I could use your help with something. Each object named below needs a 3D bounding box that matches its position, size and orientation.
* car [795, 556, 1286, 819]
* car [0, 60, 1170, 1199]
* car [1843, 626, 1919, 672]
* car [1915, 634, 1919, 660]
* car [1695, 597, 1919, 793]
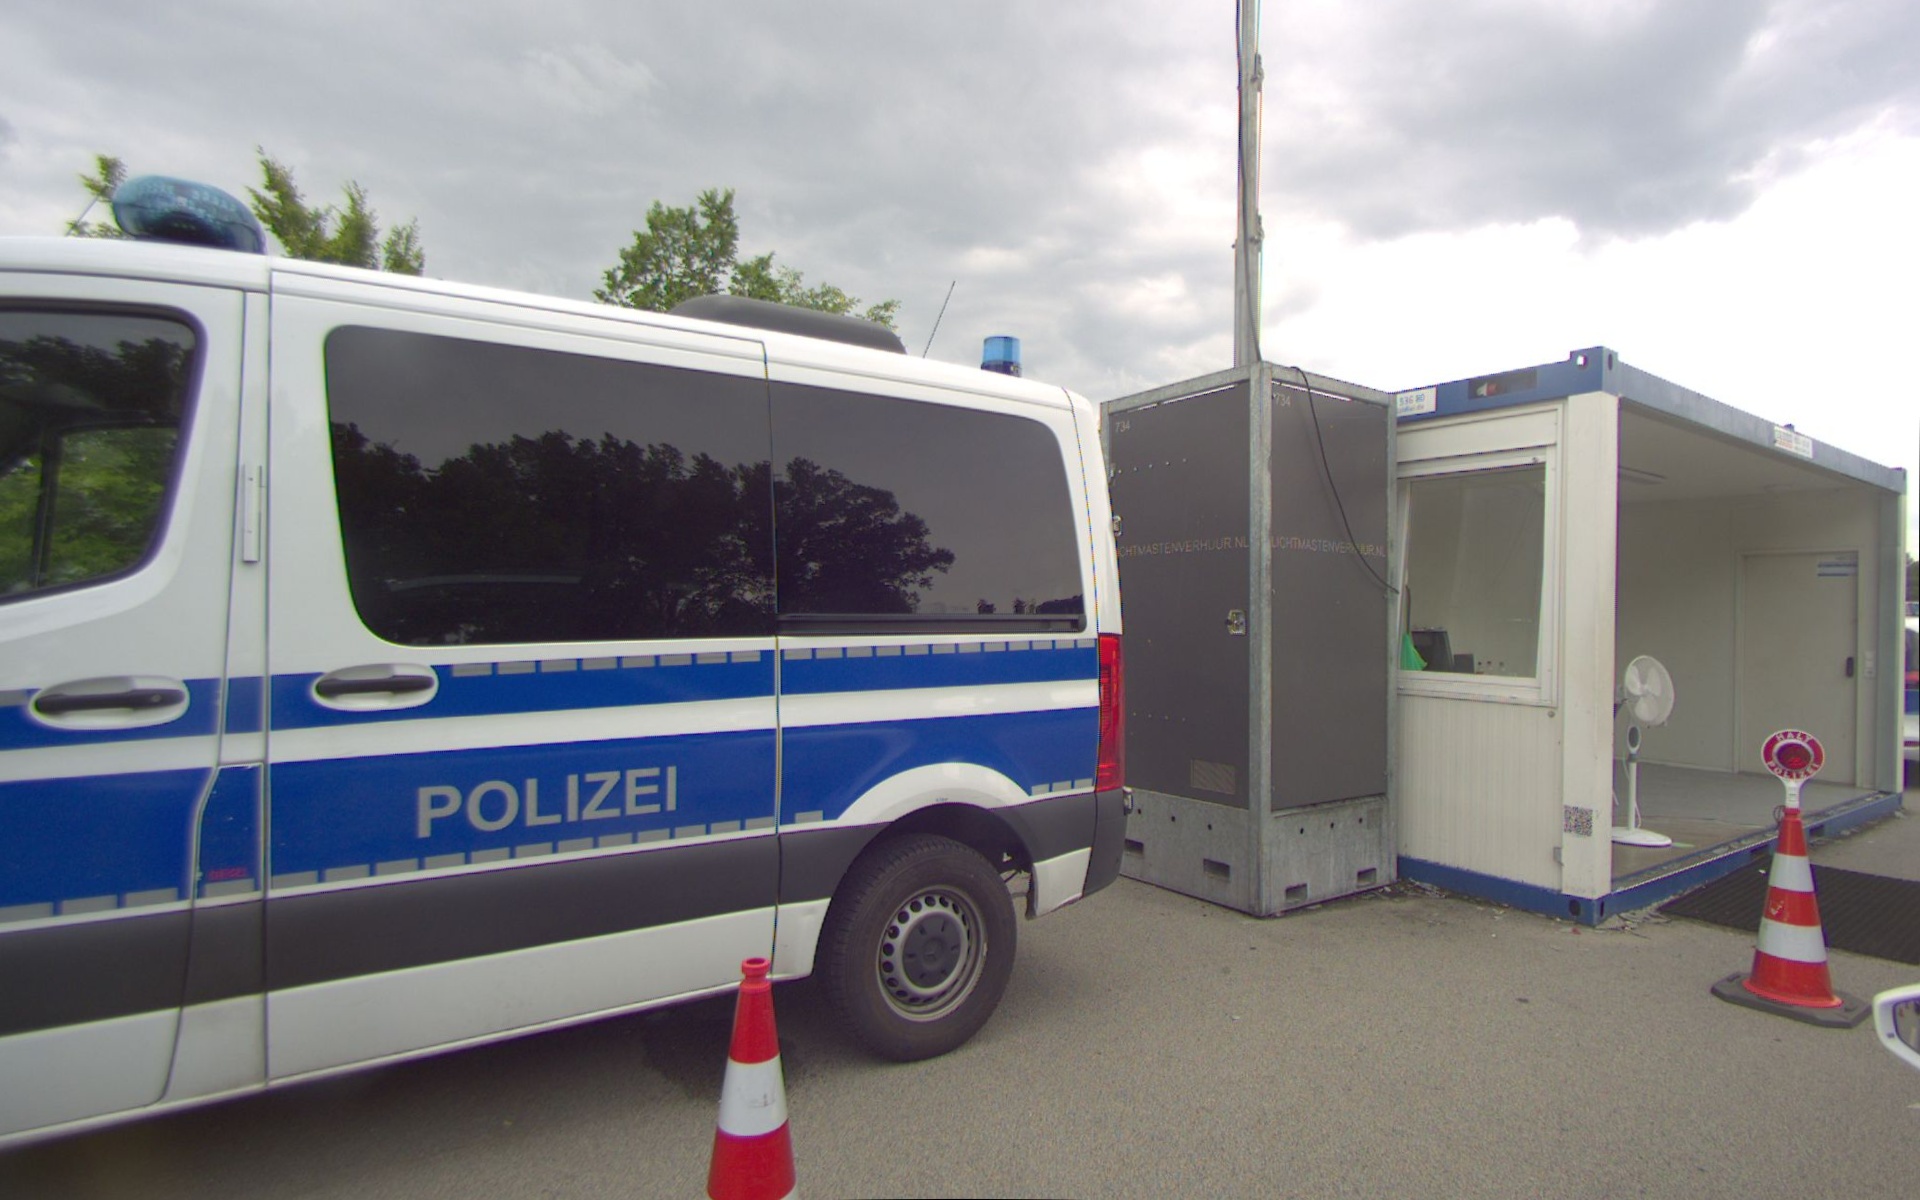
[{"bbox_3d":[0.953,0.716,9.938,4.723,2.015,1.979,2,0,-37],"label":"car"},{"bbox_3d":[-1.963,0.202,3.131,5.223,2.496,2.017,1,0,-33],"label":"car"},{"bbox_3d":[33.793,1.753,36.658,4.224,1.518,1.839,2,-1,-42],"label":"car"},{"bbox_3d":[57.529,2.794,59.069,3.974,1.482,1.833,2,-1,-45],"label":"car"},{"bbox_3d":[9.896,0.903,10.894,3.966,1.766,1.858,1,-1,-34],"label":"car"}]
